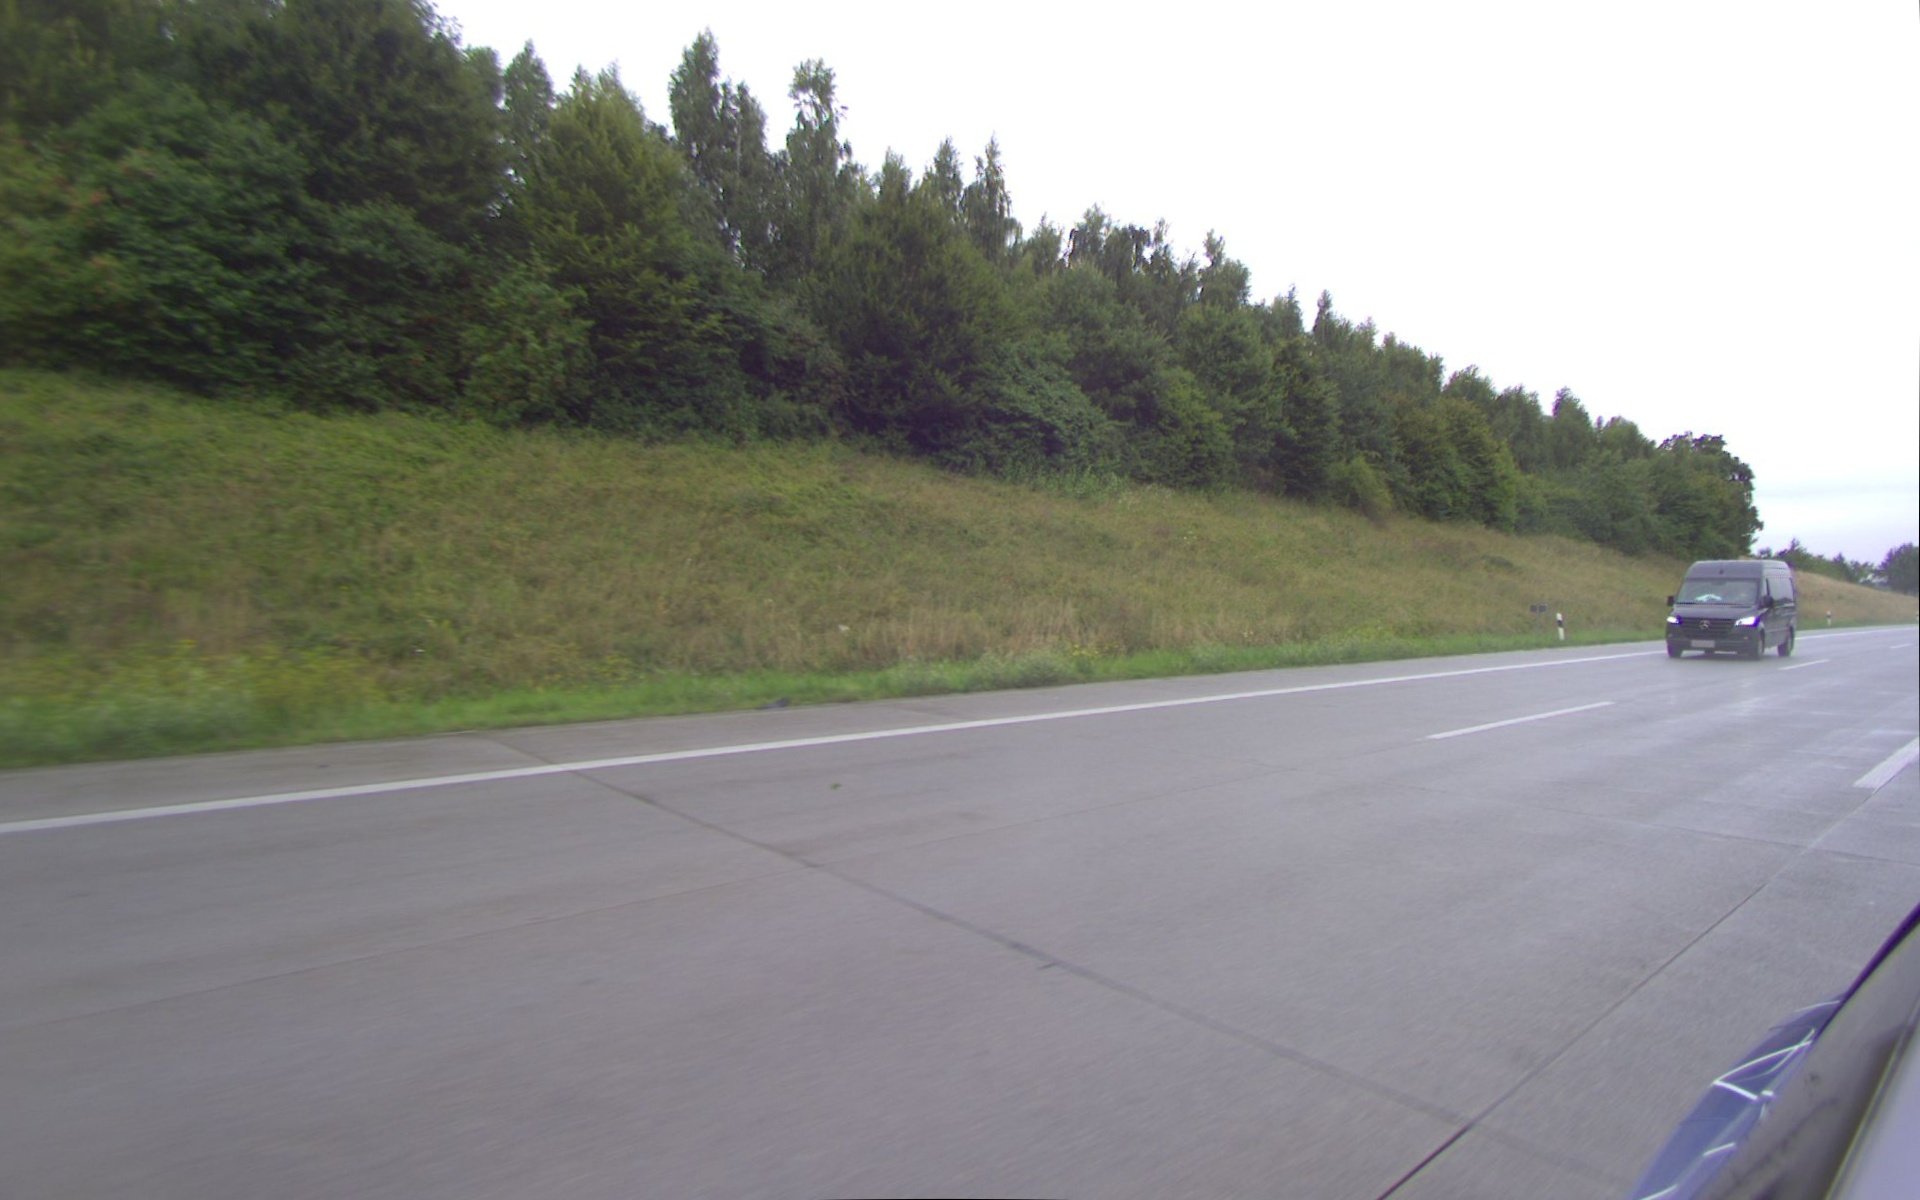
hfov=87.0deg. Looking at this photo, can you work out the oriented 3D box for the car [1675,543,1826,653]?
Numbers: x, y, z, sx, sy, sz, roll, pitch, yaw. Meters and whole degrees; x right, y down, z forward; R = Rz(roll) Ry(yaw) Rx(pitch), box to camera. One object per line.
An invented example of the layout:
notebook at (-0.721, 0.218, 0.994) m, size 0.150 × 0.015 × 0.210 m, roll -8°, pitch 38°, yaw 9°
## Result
car at (21.611, -0.030, 27.537) m, size 6.468 × 2.693 × 1.945 m, roll 1°, pitch -1°, yaw -40°
